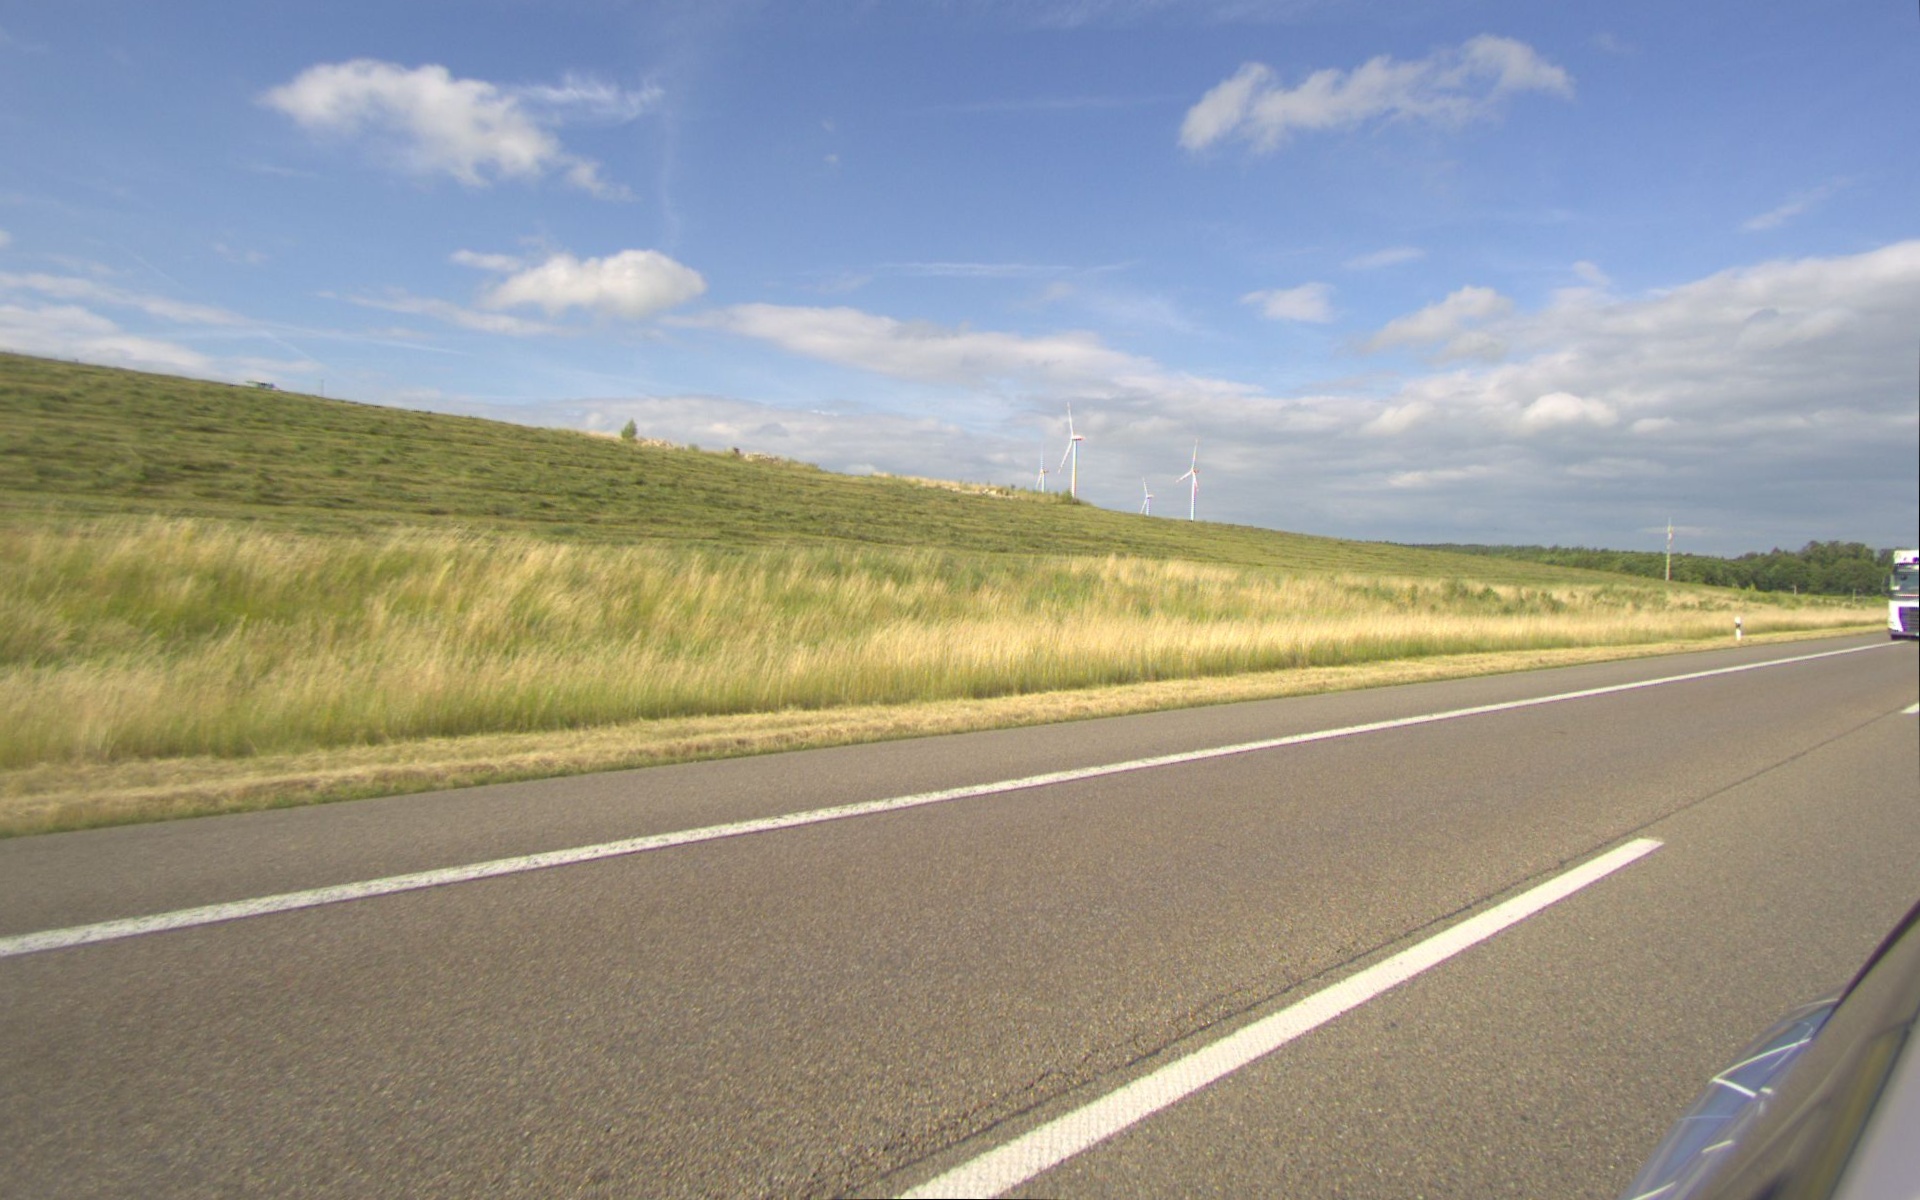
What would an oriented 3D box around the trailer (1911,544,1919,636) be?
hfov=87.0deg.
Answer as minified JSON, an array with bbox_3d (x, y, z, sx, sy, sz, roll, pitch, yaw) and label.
[{"bbox_3d":[48.616,-0.341,48.892,13.458,4.093,2.621,1,-2,-41],"label":"trailer"}]

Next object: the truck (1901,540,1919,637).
[{"bbox_3d":[43.609,-0.447,44.540,6.012,4.093,2.605,1,-2,-41],"label":"truck"}]
